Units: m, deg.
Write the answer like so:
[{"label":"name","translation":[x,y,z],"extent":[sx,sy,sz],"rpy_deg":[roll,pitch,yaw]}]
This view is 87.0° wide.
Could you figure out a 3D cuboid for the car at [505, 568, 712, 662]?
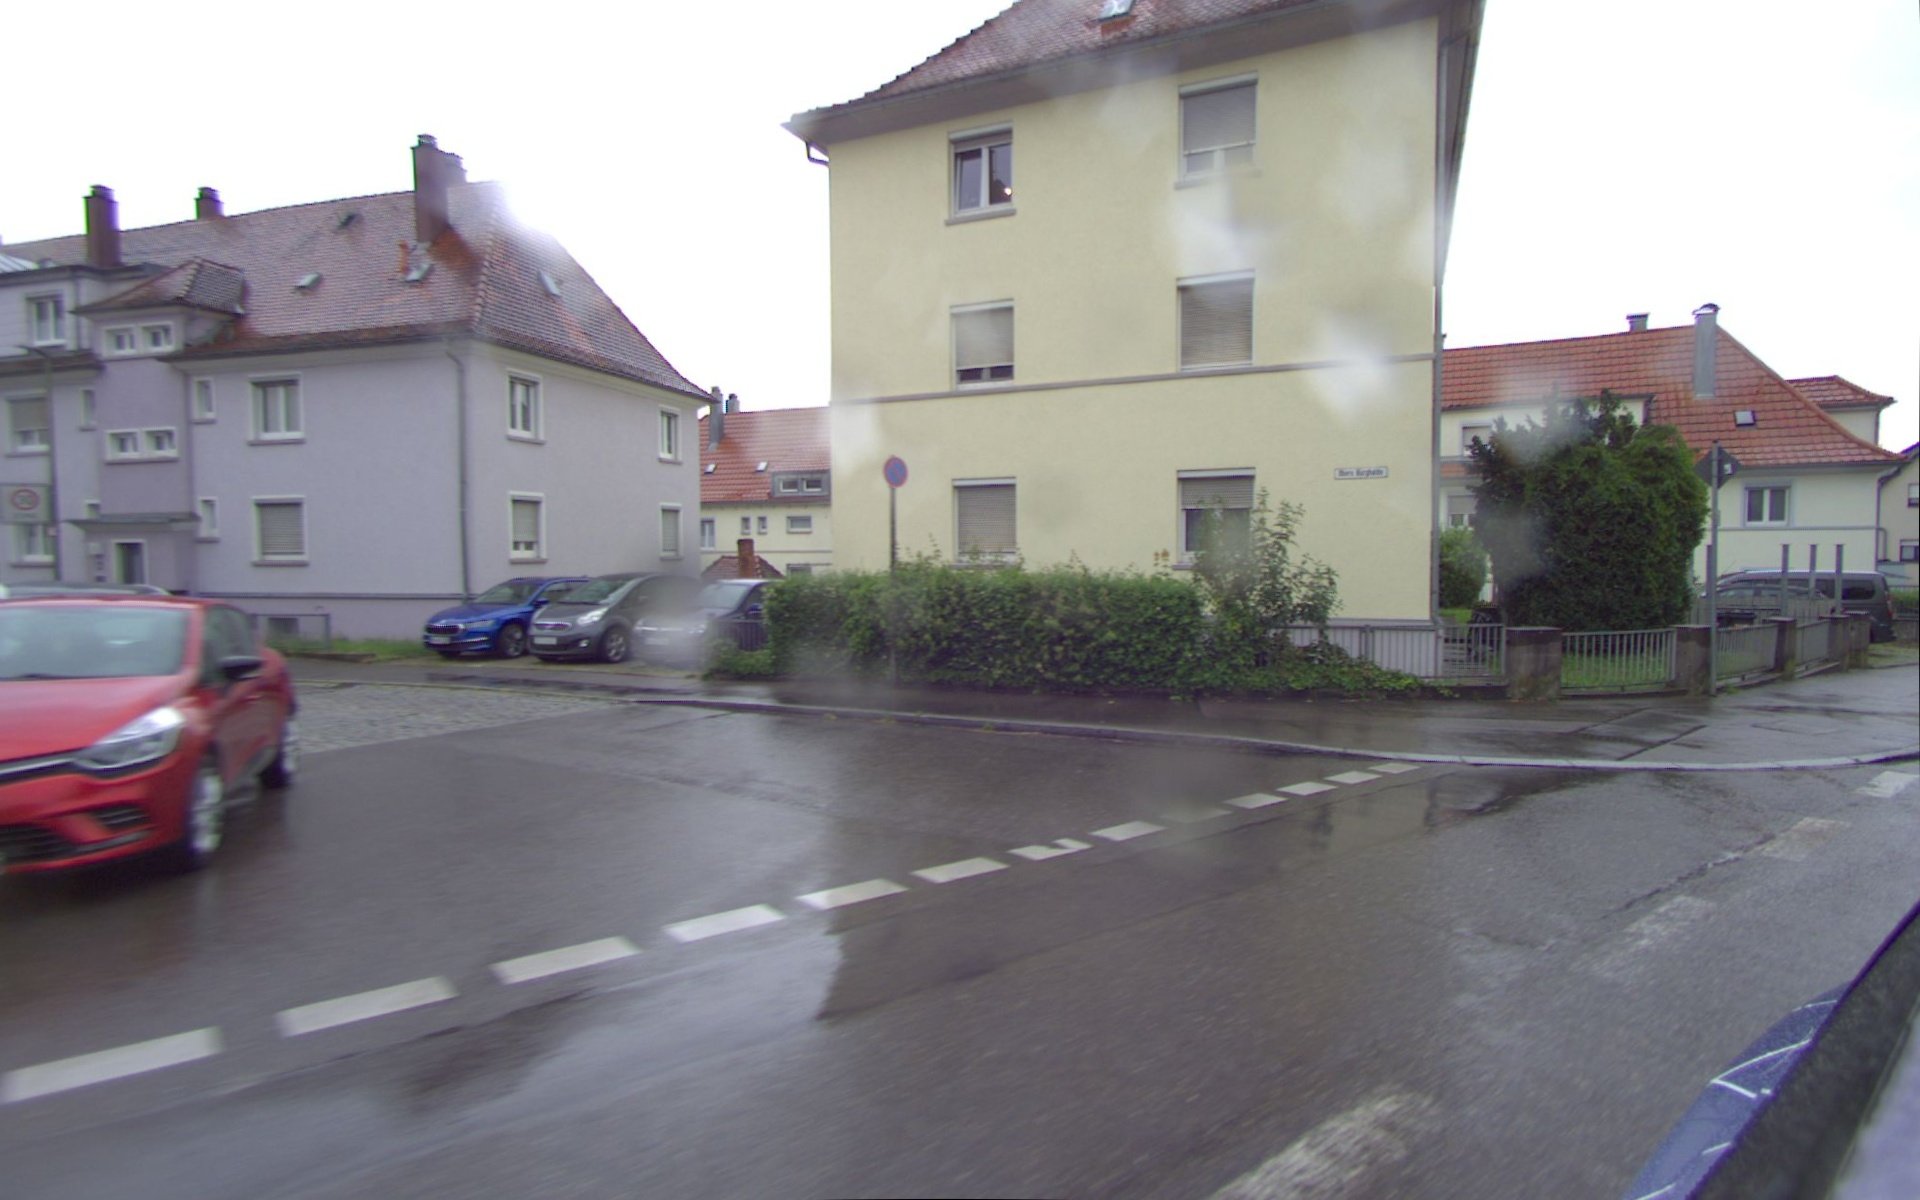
[{"label":"car","translation":[-6.385,0.191,18.794],"extent":[1.703,1.518,3.659],"rpy_deg":[0,2,20]}]

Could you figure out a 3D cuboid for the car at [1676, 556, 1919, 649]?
[{"label":"car","translation":[18.924,-0.008,23.051],"extent":[3.897,1.803,1.756],"rpy_deg":[4,4,26]}]

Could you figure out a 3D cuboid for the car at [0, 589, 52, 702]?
[{"label":"car","translation":[-13.734,0.552,12.647],"extent":[4.184,1.382,1.714],"rpy_deg":[0,-1,19]}]

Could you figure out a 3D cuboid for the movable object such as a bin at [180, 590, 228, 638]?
[{"label":"movable object such as a bin","translation":[-17.244,0.323,23.094],"extent":[0.583,1.082,0.642],"rpy_deg":[0,-1,18]}]

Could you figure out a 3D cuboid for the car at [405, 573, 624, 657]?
[{"label":"car","translation":[-8.617,0.210,20.001],"extent":[1.701,1.425,4.072],"rpy_deg":[0,2,18]}]

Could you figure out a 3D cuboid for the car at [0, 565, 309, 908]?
[{"label":"car","translation":[-5.121,0.588,5.957],"extent":[1.689,1.426,4.099],"rpy_deg":[1,-1,-26]}]

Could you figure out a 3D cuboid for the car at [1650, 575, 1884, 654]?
[{"label":"car","translation":[16.967,0.250,21.495],"extent":[3.489,1.355,1.675],"rpy_deg":[3,4,25]}]

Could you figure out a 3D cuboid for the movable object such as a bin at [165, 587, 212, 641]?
[{"label":"movable object such as a bin","translation":[-17.736,0.320,23.264],"extent":[0.583,1.205,0.642],"rpy_deg":[0,-1,18]}]

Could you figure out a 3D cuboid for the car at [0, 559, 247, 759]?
[{"label":"car","translation":[-8.863,0.497,10.142],"extent":[4.218,1.610,1.700],"rpy_deg":[-1,-1,39]}]

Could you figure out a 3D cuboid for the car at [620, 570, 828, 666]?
[{"label":"car","translation":[-4.027,0.227,17.921],"extent":[1.703,1.462,3.947],"rpy_deg":[0,2,20]}]
